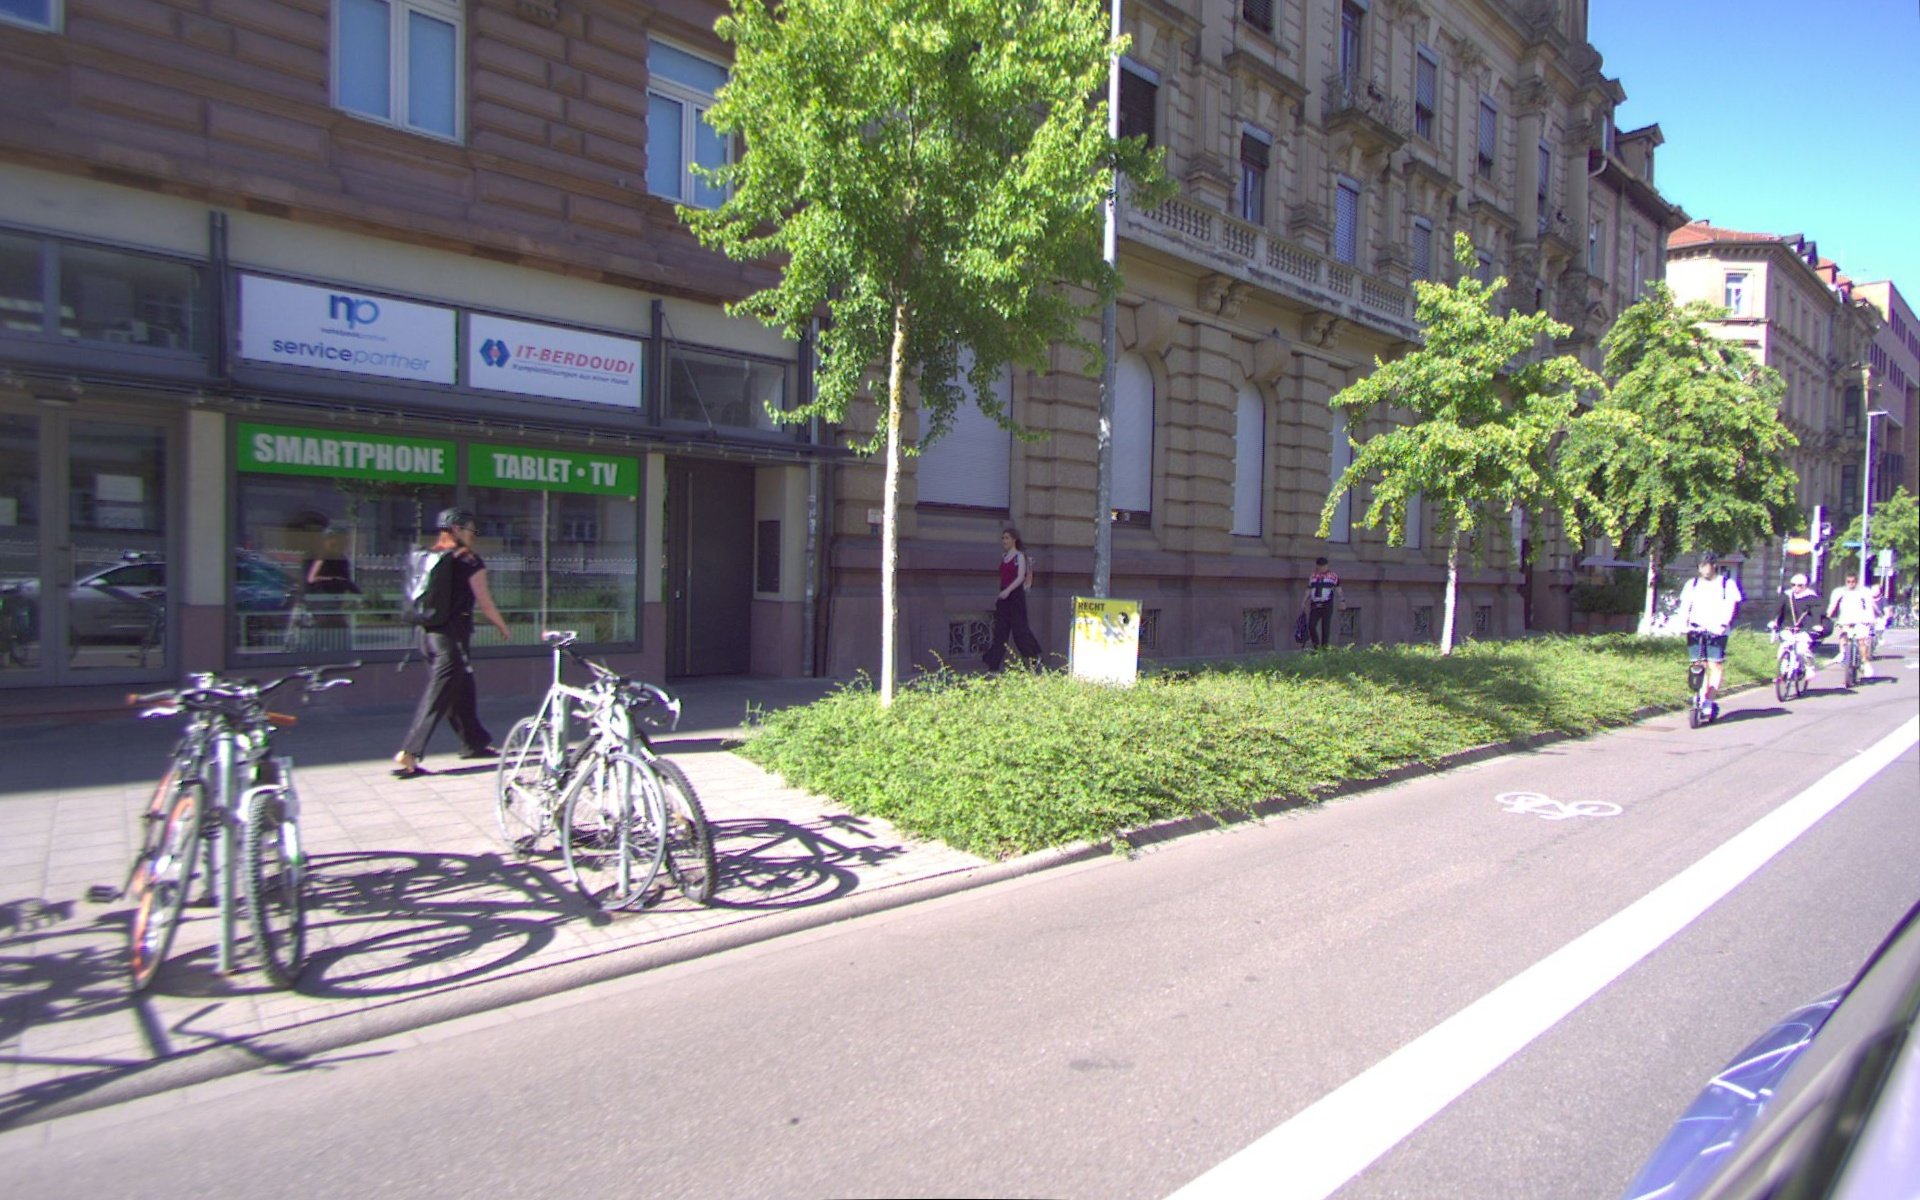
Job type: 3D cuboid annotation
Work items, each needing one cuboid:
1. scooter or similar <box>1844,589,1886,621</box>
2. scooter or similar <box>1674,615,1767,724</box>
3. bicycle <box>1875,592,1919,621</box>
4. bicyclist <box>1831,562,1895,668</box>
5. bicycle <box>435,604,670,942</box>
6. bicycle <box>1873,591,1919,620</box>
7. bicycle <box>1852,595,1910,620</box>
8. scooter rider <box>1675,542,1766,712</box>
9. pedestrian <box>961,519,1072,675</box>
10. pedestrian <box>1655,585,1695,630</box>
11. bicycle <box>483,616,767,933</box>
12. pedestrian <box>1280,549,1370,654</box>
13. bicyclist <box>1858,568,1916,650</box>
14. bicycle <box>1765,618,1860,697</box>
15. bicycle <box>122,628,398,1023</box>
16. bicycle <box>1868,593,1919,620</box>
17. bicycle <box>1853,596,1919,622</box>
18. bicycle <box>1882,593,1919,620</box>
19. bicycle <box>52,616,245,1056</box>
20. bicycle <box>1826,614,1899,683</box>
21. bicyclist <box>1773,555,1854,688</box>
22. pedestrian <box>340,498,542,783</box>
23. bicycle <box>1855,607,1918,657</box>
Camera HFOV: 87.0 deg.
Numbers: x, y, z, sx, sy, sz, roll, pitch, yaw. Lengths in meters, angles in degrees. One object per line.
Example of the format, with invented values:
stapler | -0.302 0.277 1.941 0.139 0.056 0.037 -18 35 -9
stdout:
scooter or similar | 35.923 0.189 40.185 0.480 1.212 1.197 0 2 -45
scooter or similar | 8.904 0.782 11.840 1.130 1.173 0.646 0 1 -40
bicycle | 39.233 0.287 41.953 0.599 1.061 1.873 -1 5 -45
bicyclist | 14.869 0.227 16.661 0.961 1.677 0.699 0 0 -43
bicycle | -1.941 0.664 4.652 0.367 1.193 1.869 -1 3 -43
bicycle | 40.930 0.241 43.987 1.115 1.074 1.677 -1 6 -42
bicycle | 37.662 0.293 41.400 0.489 0.936 1.717 -1 2 -40
scooter rider | 8.872 0.290 11.807 0.882 1.890 0.662 0 0 -40
pedestrian | 0.735 -0.064 13.240 1.077 1.943 0.893 0 3 -35
pedestrian | 20.205 0.198 28.605 0.866 1.197 0.719 -1 2 -41
bicycle | -1.692 0.716 4.898 0.509 1.122 1.893 -1 4 -45
pedestrian | 6.281 0.008 17.424 1.094 1.712 0.972 0 4 -39
bicyclist | 20.495 0.185 22.376 0.971 1.748 0.853 0 0 -41
bicycle | 12.328 0.802 14.618 1.917 1.019 0.725 0 1 -40
bicycle | -2.811 0.728 3.980 1.815 1.068 0.562 5 4 44
bicycle | 40.119 0.278 43.203 1.013 1.043 1.901 -1 5 -43
bicycle | 37.361 0.349 40.796 0.580 0.922 1.911 -1 4 -32
bicycle | 42.165 0.316 44.664 0.833 1.054 2.062 -1 5 -41
bicycle | -3.092 0.699 3.791 0.428 1.121 1.980 -1 4 -43
bicycle | 14.939 0.769 16.733 1.919 1.019 0.724 0 1 -43
bicyclist | 12.329 0.296 14.617 1.071 1.840 0.725 0 0 -40
pedestrian | -3.537 0.221 6.917 0.842 1.756 0.893 5 4 29
bicycle | 20.488 0.689 22.373 1.918 1.019 0.829 0 1 -41
